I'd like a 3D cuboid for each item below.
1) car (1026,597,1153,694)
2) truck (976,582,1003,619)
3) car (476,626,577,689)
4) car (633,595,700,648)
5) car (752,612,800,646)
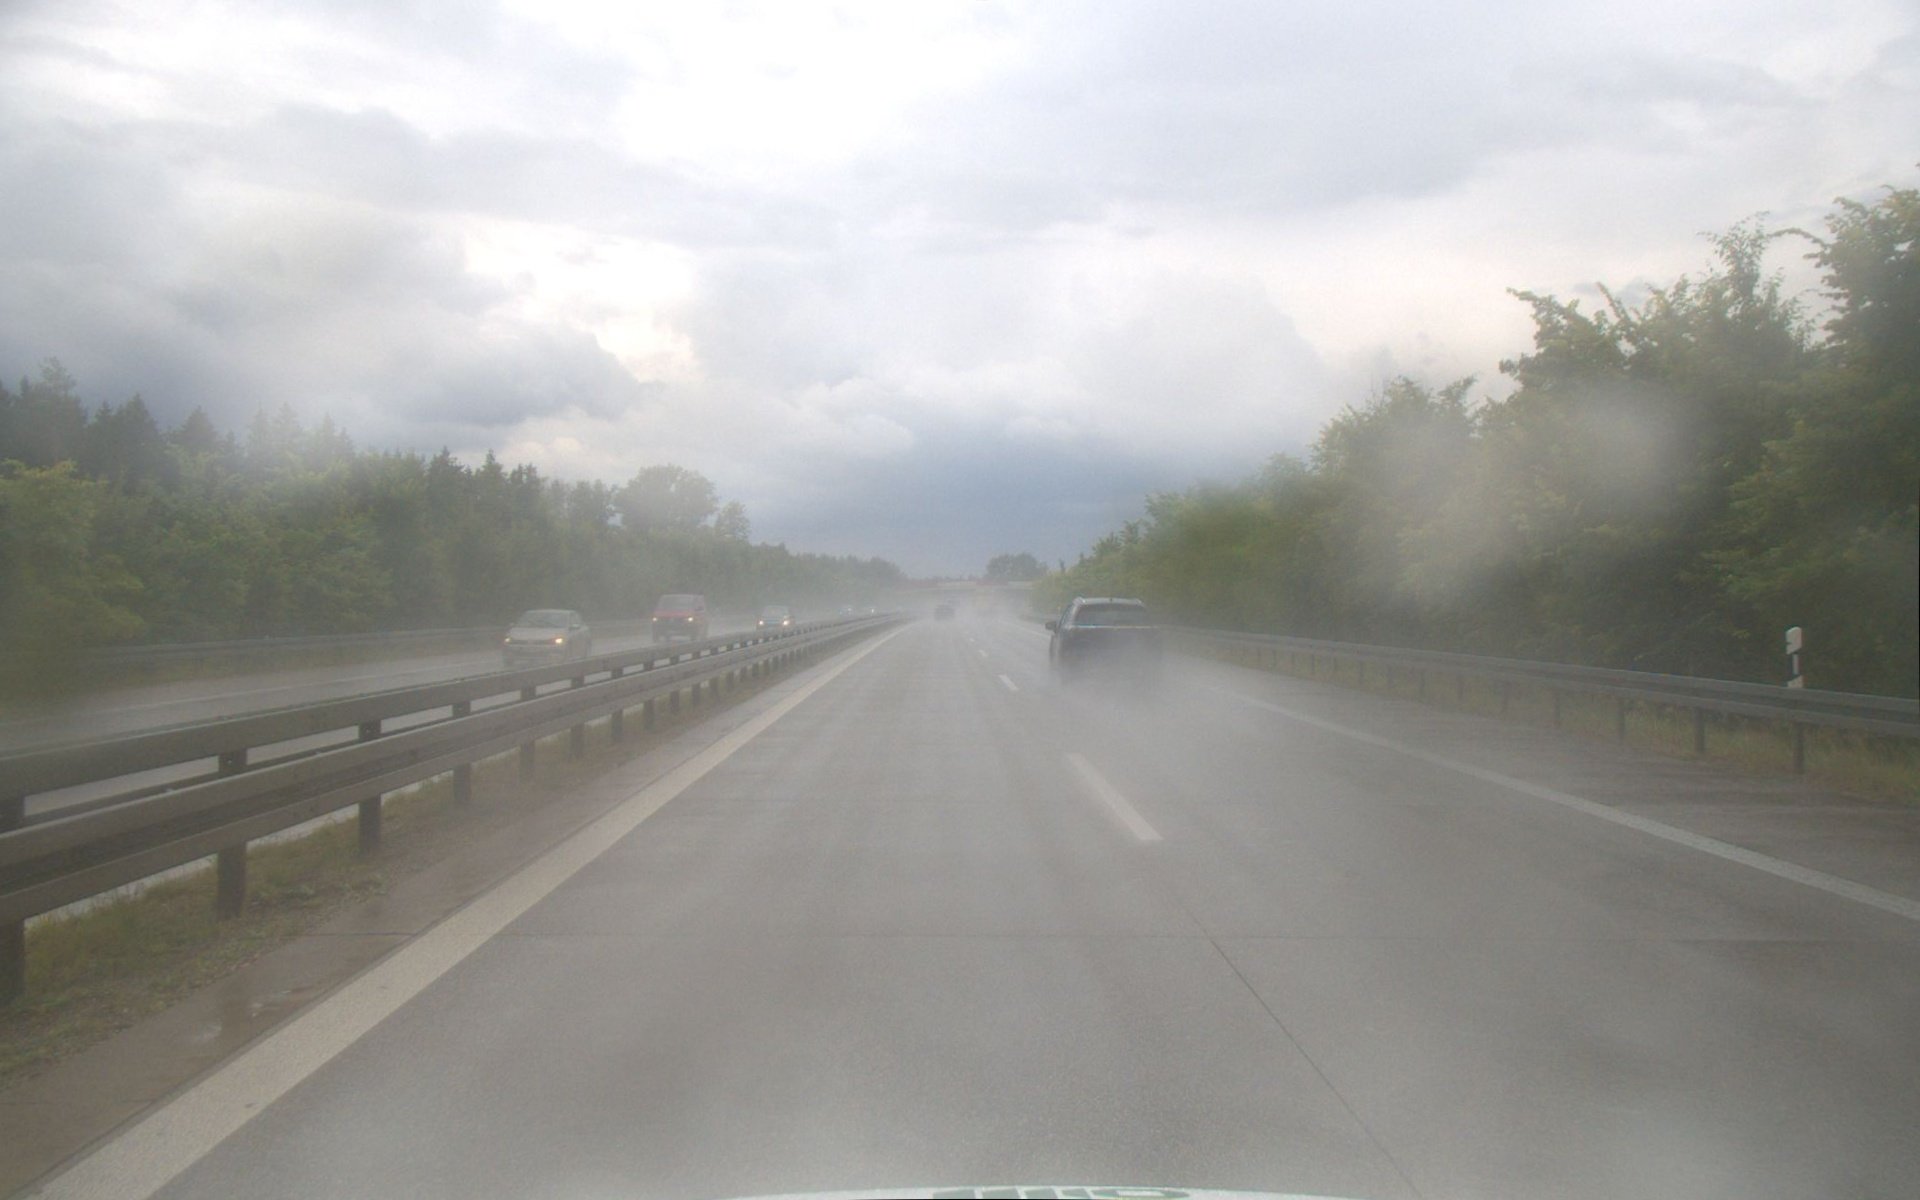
[{"bbox_3d":[2.242,0.804,29.514,1.856,1.604,3.630,1,-1,-2],"label":"car"},{"bbox_3d":[3.651,0.099,205.256,3.176,4.515,8.247,0,-1,2],"label":"truck"},{"bbox_3d":[-11.596,1.519,44.478,1.714,1.460,3.917,-2,0,-1],"label":"car"},{"bbox_3d":[-12.588,0.885,71.199,1.953,2.100,5.312,-2,0,-1],"label":"car"},{"bbox_3d":[-9.137,1.398,82.397,1.953,1.509,4.556,-2,0,-1],"label":"car"}]
